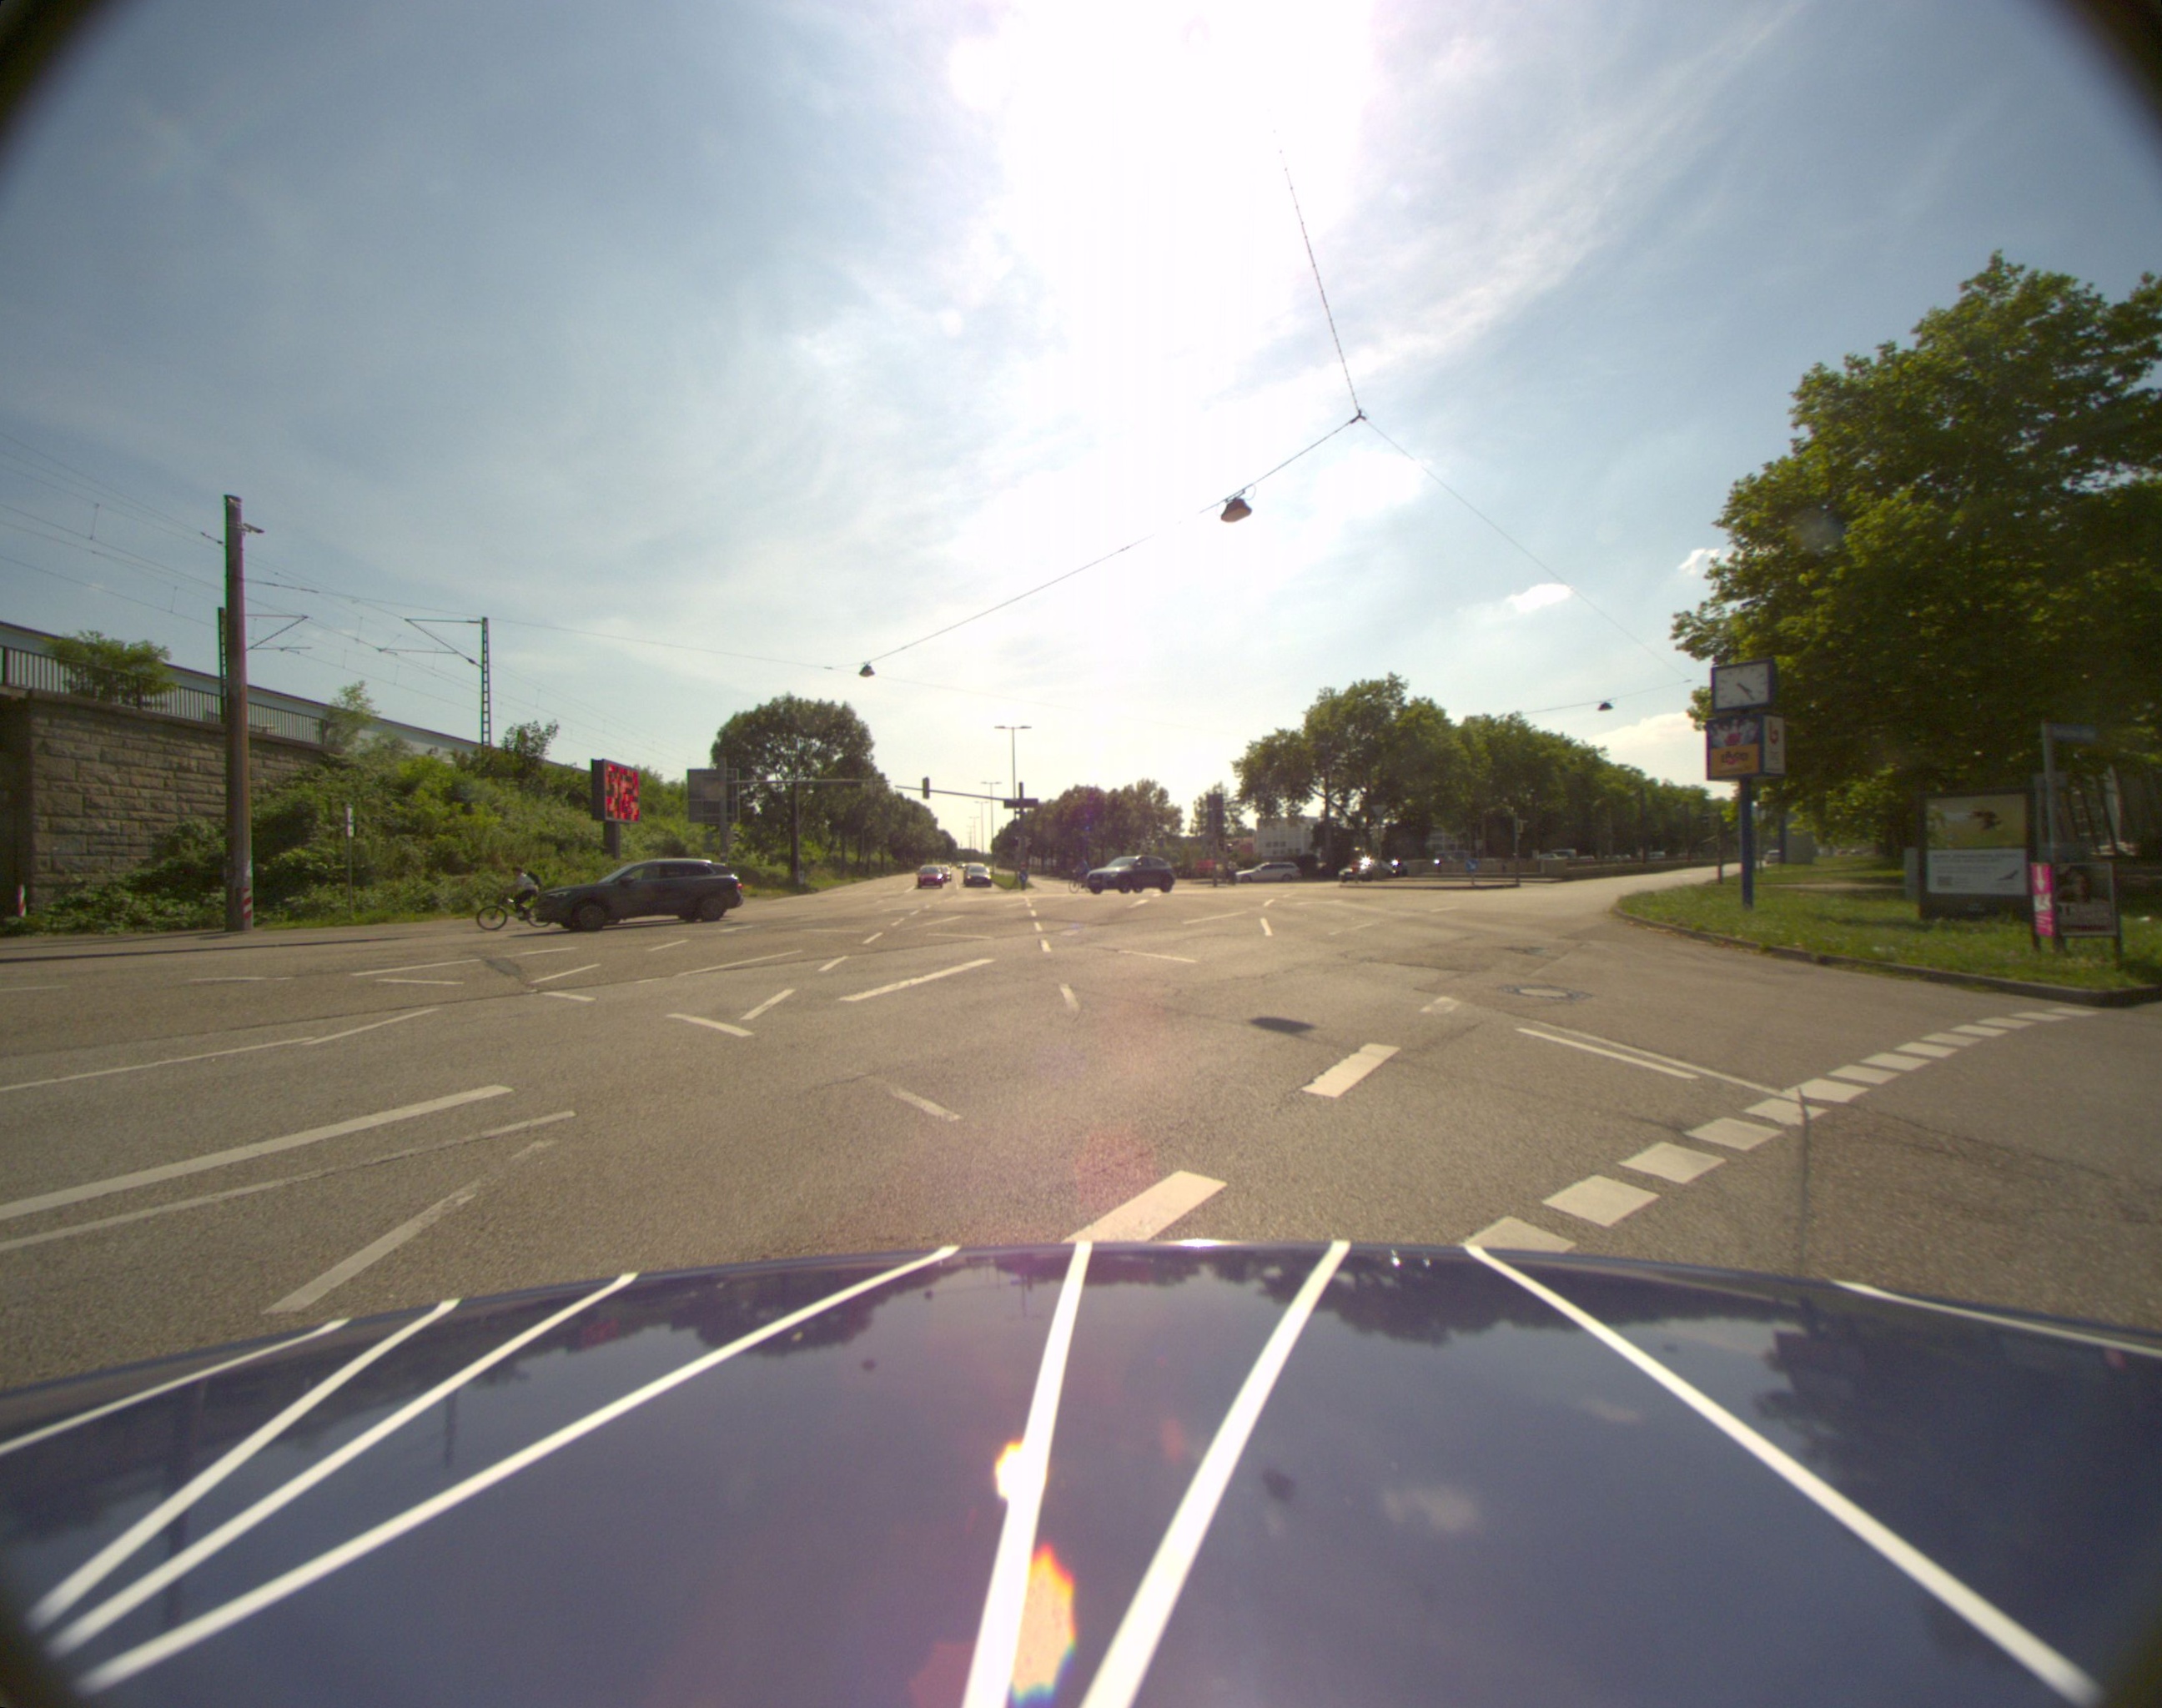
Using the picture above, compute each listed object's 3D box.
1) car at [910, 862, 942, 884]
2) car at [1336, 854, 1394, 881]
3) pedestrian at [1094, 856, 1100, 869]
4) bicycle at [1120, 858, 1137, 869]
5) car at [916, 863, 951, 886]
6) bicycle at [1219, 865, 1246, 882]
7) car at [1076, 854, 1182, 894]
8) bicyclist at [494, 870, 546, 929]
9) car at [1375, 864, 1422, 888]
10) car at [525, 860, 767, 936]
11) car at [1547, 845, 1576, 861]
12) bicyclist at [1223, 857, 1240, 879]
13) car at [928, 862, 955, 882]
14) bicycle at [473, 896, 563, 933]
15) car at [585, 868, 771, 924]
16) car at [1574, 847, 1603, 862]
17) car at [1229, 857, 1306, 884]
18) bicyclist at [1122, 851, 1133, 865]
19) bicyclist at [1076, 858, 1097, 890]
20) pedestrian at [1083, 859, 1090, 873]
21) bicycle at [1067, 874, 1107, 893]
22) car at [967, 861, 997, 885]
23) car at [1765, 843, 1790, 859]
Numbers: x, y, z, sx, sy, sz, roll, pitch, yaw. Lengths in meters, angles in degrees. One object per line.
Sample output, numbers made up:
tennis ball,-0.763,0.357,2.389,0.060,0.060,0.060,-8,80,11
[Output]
car,-11.283,1.429,55.390,1.715,1.498,4.000,-2,-2,-4
car,17.794,0.844,47.499,4.008,1.603,1.814,0,-2,-44
pedestrian,1.949,1.021,93.316,0.579,1.515,0.879,-1,0,-11
bicycle,4.944,0.978,79.503,0.885,1.053,2.768,-1,0,-16
car,-9.778,1.385,50.517,1.715,1.384,4.000,-2,-2,-4
bicycle,10.050,1.261,50.417,0.774,1.047,2.398,-1,0,-14
car,2.073,0.802,31.911,4.570,1.540,1.825,-1,-1,-45
bicyclist,-16.069,1.284,21.772,0.804,1.624,1.070,-4,-2,44
car,24.256,1.642,57.975,4.008,1.619,1.768,-1,1,-42
car,-10.922,1.011,19.377,4.985,1.598,1.943,-1,0,-45
car,57.681,-0.137,91.217,4.008,1.925,1.868,-1,0,-42
bicyclist,10.028,0.949,50.494,0.774,1.427,0.920,-1,1,-14
car,-11.428,1.501,62.414,1.715,1.498,4.000,-2,-2,-4
bicycle,-16.085,1.712,21.734,0.815,0.887,1.930,-4,-2,44
car,-11.601,1.149,22.091,1.711,1.383,4.450,-2,-1,44
car,59.197,0.066,88.590,4.008,1.744,1.868,-1,0,-42
car,13.634,1.211,55.749,5.161,1.713,2.001,-2,-2,0
bicyclist,4.896,0.426,79.589,0.885,1.434,0.965,-1,0,-16
bicyclist,0.286,0.985,38.015,0.546,1.557,0.911,-1,0,44
pedestrian,0.665,1.530,95.113,0.631,1.699,0.767,-1,0,-11
bicycle,0.322,1.472,38.045,0.546,0.830,2.305,-1,0,44
car,-6.829,1.331,52.652,1.715,1.498,4.000,-2,-2,-4
car,80.100,-0.331,87.375,1.899,1.630,4.009,-4,-2,44
